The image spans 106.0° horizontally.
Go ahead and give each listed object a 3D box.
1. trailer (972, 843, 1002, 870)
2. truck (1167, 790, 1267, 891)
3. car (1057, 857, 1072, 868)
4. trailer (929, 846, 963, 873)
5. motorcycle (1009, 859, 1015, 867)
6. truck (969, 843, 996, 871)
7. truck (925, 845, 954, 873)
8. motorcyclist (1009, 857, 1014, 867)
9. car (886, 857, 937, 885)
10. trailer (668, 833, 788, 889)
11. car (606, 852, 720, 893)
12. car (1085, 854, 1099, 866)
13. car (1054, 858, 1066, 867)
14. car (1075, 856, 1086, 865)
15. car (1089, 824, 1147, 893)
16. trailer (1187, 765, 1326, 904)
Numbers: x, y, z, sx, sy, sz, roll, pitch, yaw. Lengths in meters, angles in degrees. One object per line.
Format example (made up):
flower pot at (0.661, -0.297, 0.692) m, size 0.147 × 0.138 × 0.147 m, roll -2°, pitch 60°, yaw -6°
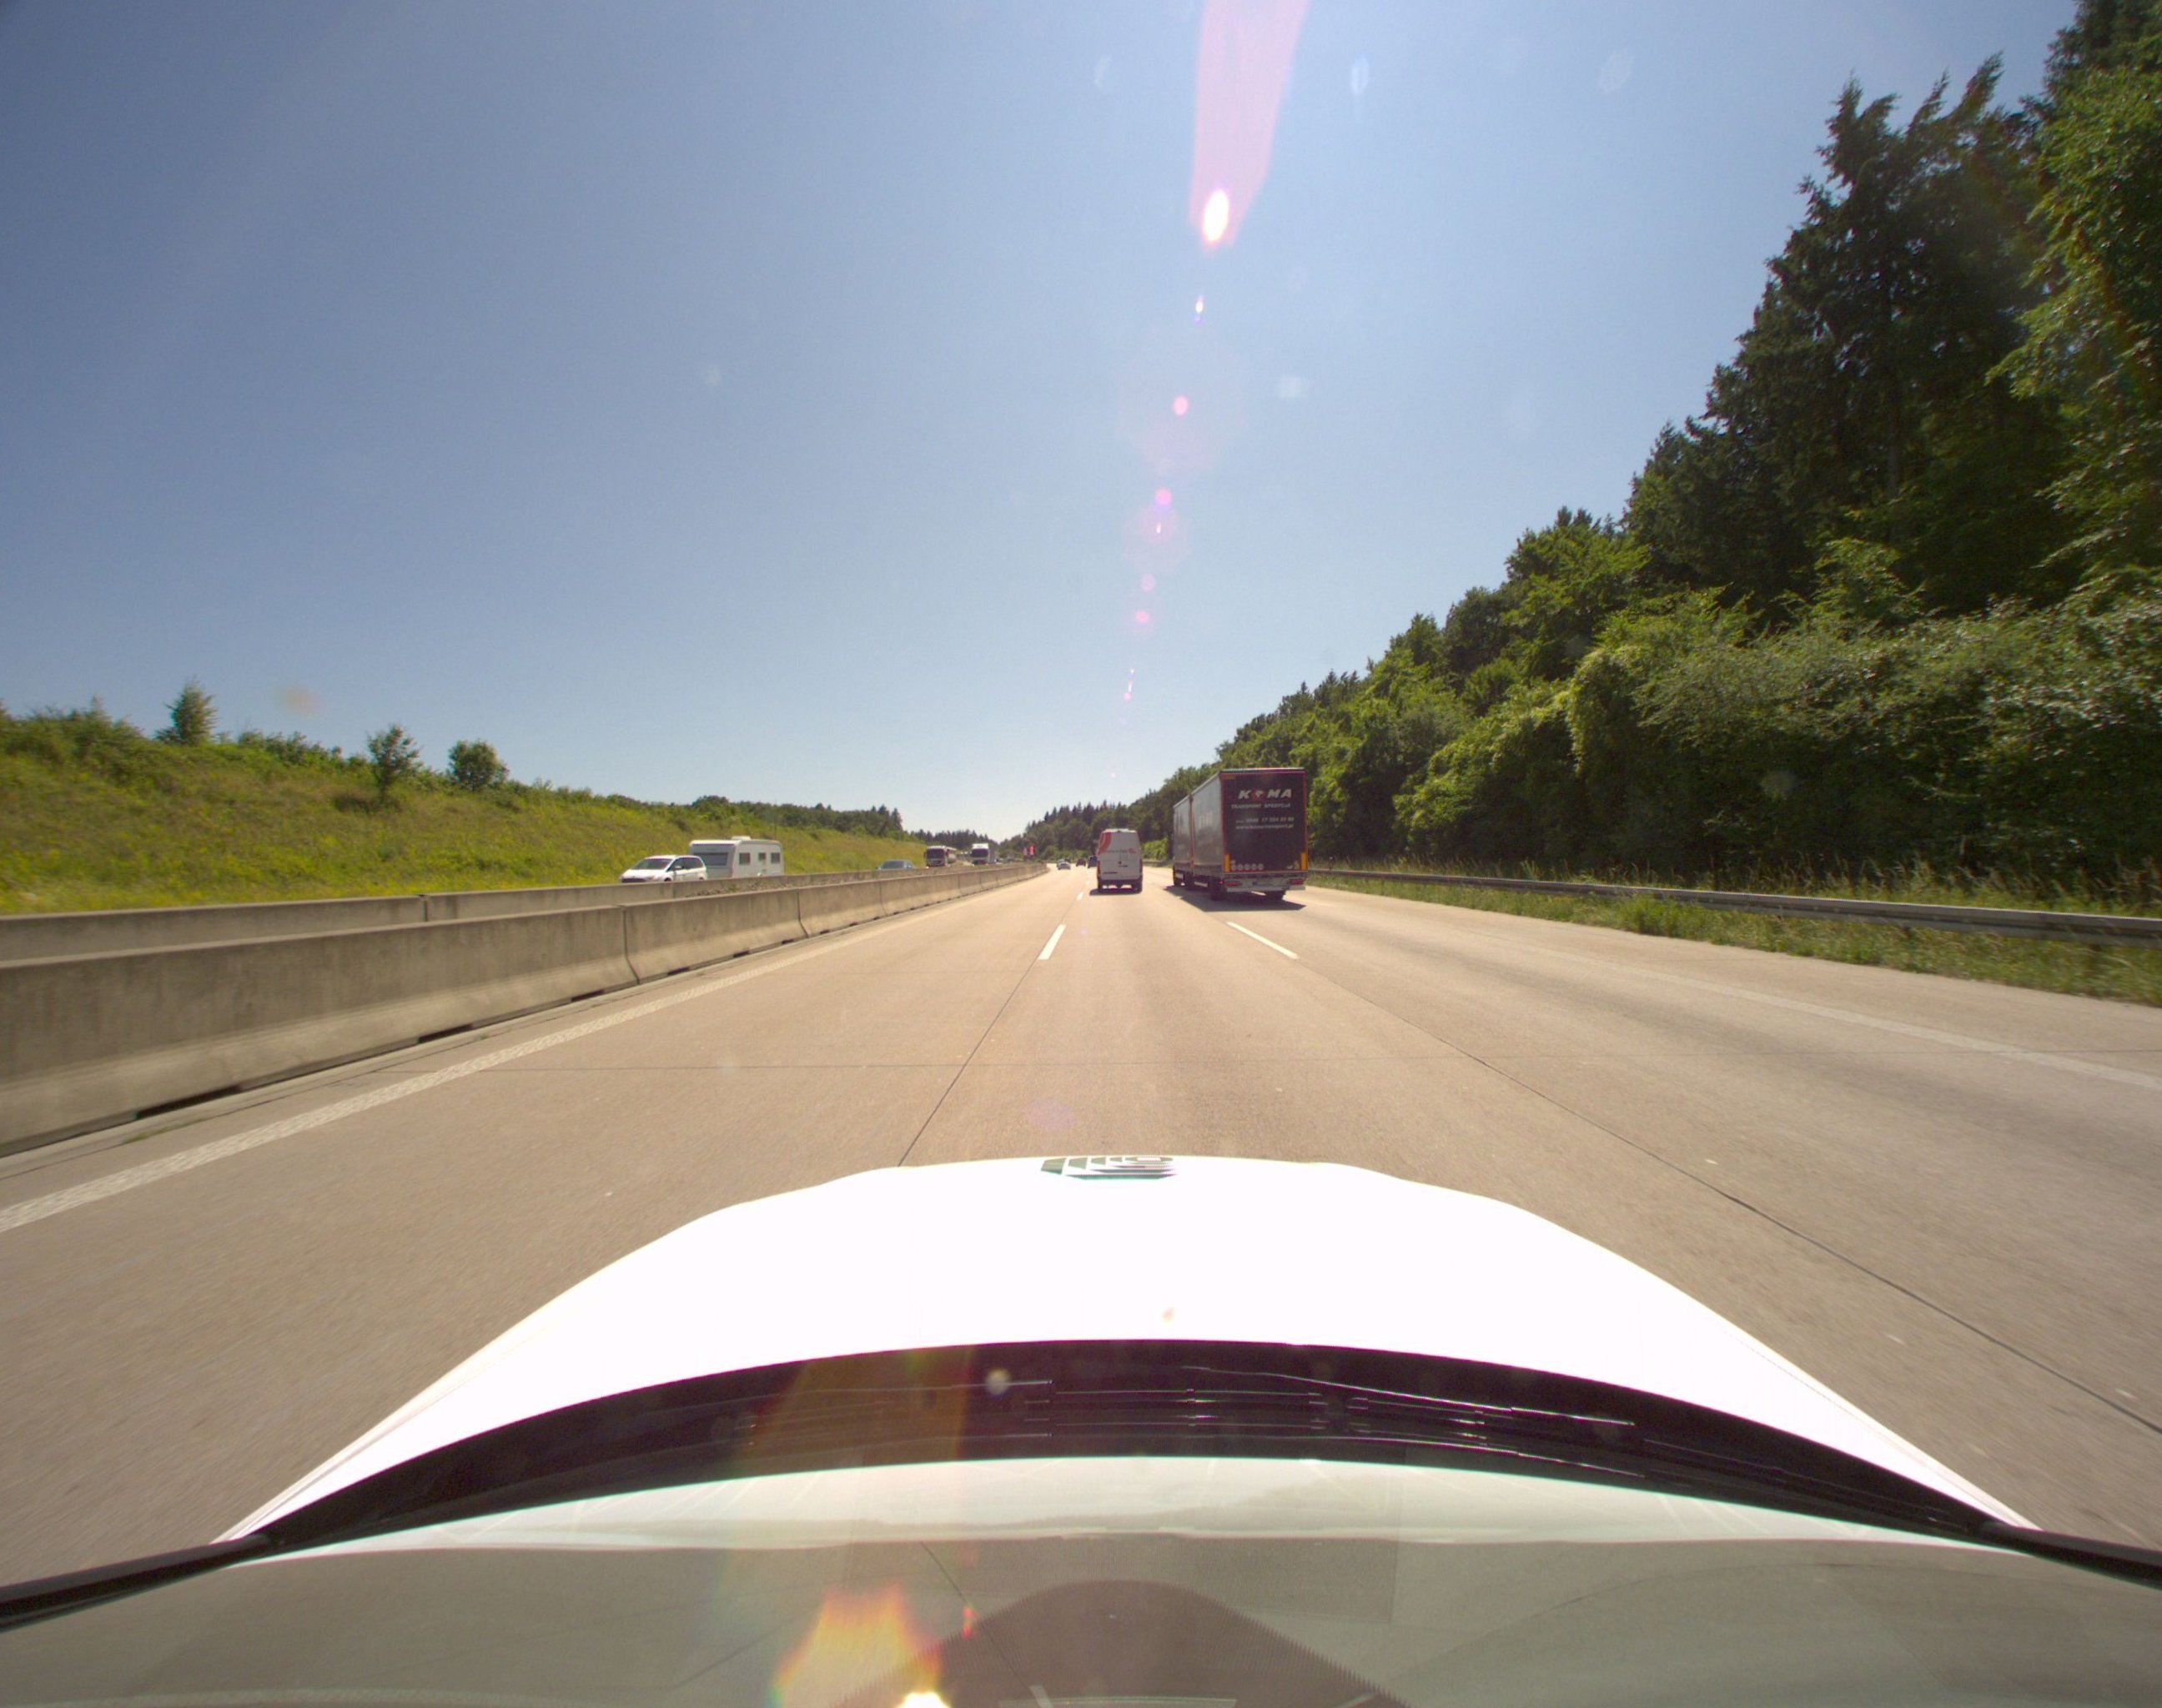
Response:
trailer at (-14.428, 0.519, 125.852) m, size 3.151 × 3.932 × 13.861 m, roll 1°, pitch -1°, yaw -1°
truck at (6.056, -0.499, 38.302) m, size 3.148 × 4.017 × 10.611 m, roll -1°, pitch -1°, yaw 2°
car at (-2.375, 1.259, 120.061) m, size 1.986 × 1.684 × 4.001 m, roll 1°, pitch -1°, yaw 2°
trailer at (-17.857, 0.768, 108.352) m, size 2.715 × 3.413 × 8.956 m, roll 1°, pitch -1°, yaw 1°
motorcycle at (-13.301, 1.760, 156.608) m, size 1.004 × 1.549 × 2.483 m, roll -1°, pitch -1°, yaw 0°
truck at (-14.325, 0.443, 118.416) m, size 3.151 × 3.932 × 5.834 m, roll 1°, pitch -1°, yaw -1°
truck at (-17.962, 0.684, 103.433) m, size 2.715 × 3.413 × 4.513 m, roll 1°, pitch -1°, yaw 1°
motorcyclist at (-13.362, 1.563, 156.717) m, size 0.816 × 1.873 × 1.491 m, roll -1°, pitch -1°, yaw 0°
car at (-9.857, 0.963, 47.606) m, size 1.986 × 1.519 × 4.001 m, roll 0°, pitch 0°, yaw 2°
trailer at (-17.903, 0.351, 41.979) m, size 2.596 × 2.631 × 7.784 m, roll 0°, pitch 0°, yaw 2°
car at (-17.956, 0.761, 35.348) m, size 1.986 × 1.660 × 5.376 m, roll 0°, pitch 0°, yaw 2°
car at (1.782, 0.948, 127.261) m, size 1.985 × 1.684 × 4.004 m, roll 1°, pitch -1°, yaw 4°
car at (-4.073, 1.693, 159.149) m, size 1.991 × 1.684 × 3.990 m, roll 1°, pitch -1°, yaw -7°
car at (-0.170, 1.333, 160.291) m, size 1.988 × 1.684 × 3.997 m, roll 1°, pitch -1°, yaw -1°
car at (1.577, 0.190, 36.804) m, size 2.220 × 2.844 × 5.451 m, roll -1°, pitch 0°, yaw -1°
trailer at (5.729, -0.541, 28.412) m, size 3.123 × 4.017 × 9.092 m, roll -1°, pitch -1°, yaw 2°
